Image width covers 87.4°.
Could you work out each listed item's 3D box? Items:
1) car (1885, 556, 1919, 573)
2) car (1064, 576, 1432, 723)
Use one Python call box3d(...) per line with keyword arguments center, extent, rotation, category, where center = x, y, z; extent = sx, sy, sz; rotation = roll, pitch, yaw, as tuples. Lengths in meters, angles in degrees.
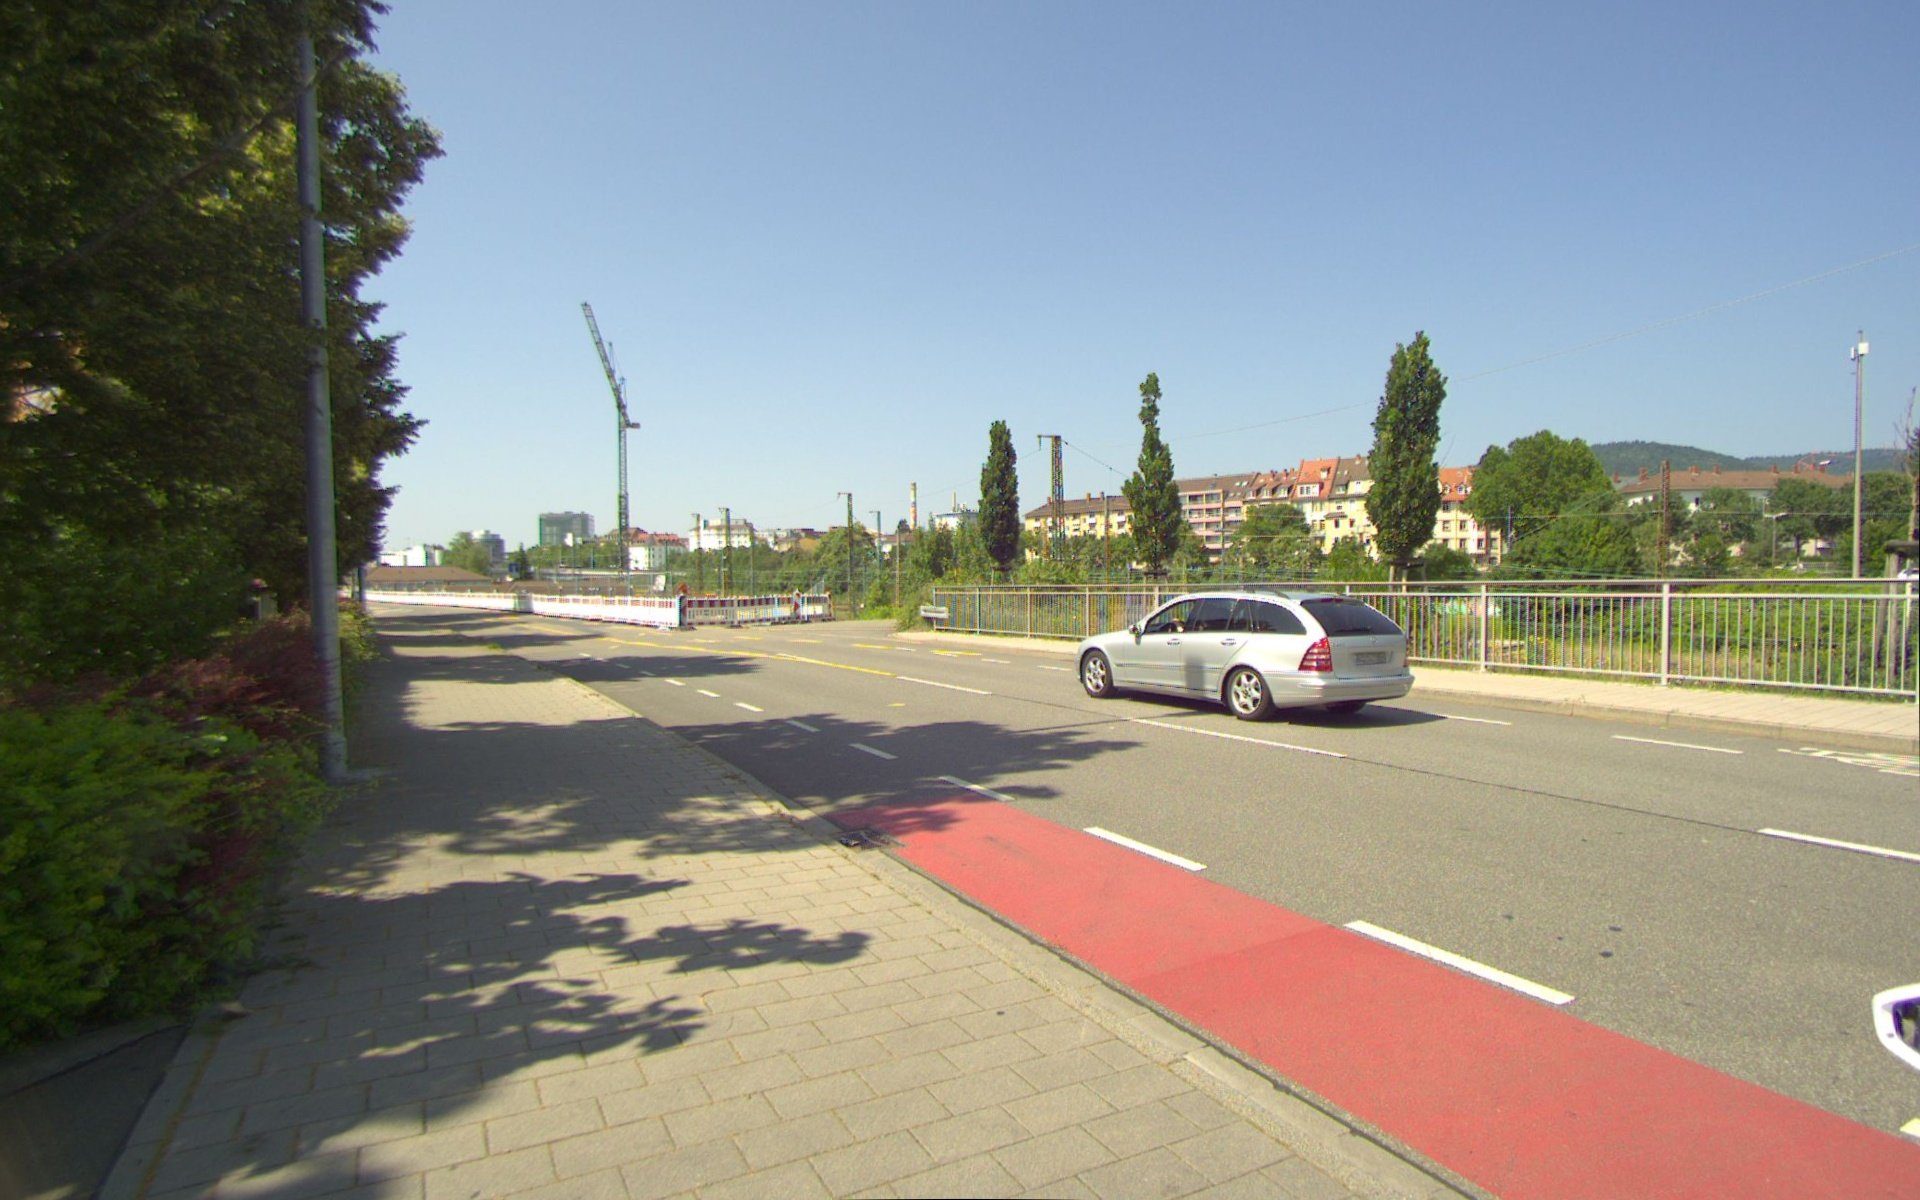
box3d(center=(79.901, -2.963, 83.600), extent=(1.829, 1.385, 4.315), rotation=(-1, 1, 0), category="car")
box3d(center=(3.188, 0.450, 12.072), extent=(1.693, 1.422, 4.352), rotation=(-1, 1, -29), category="car")
